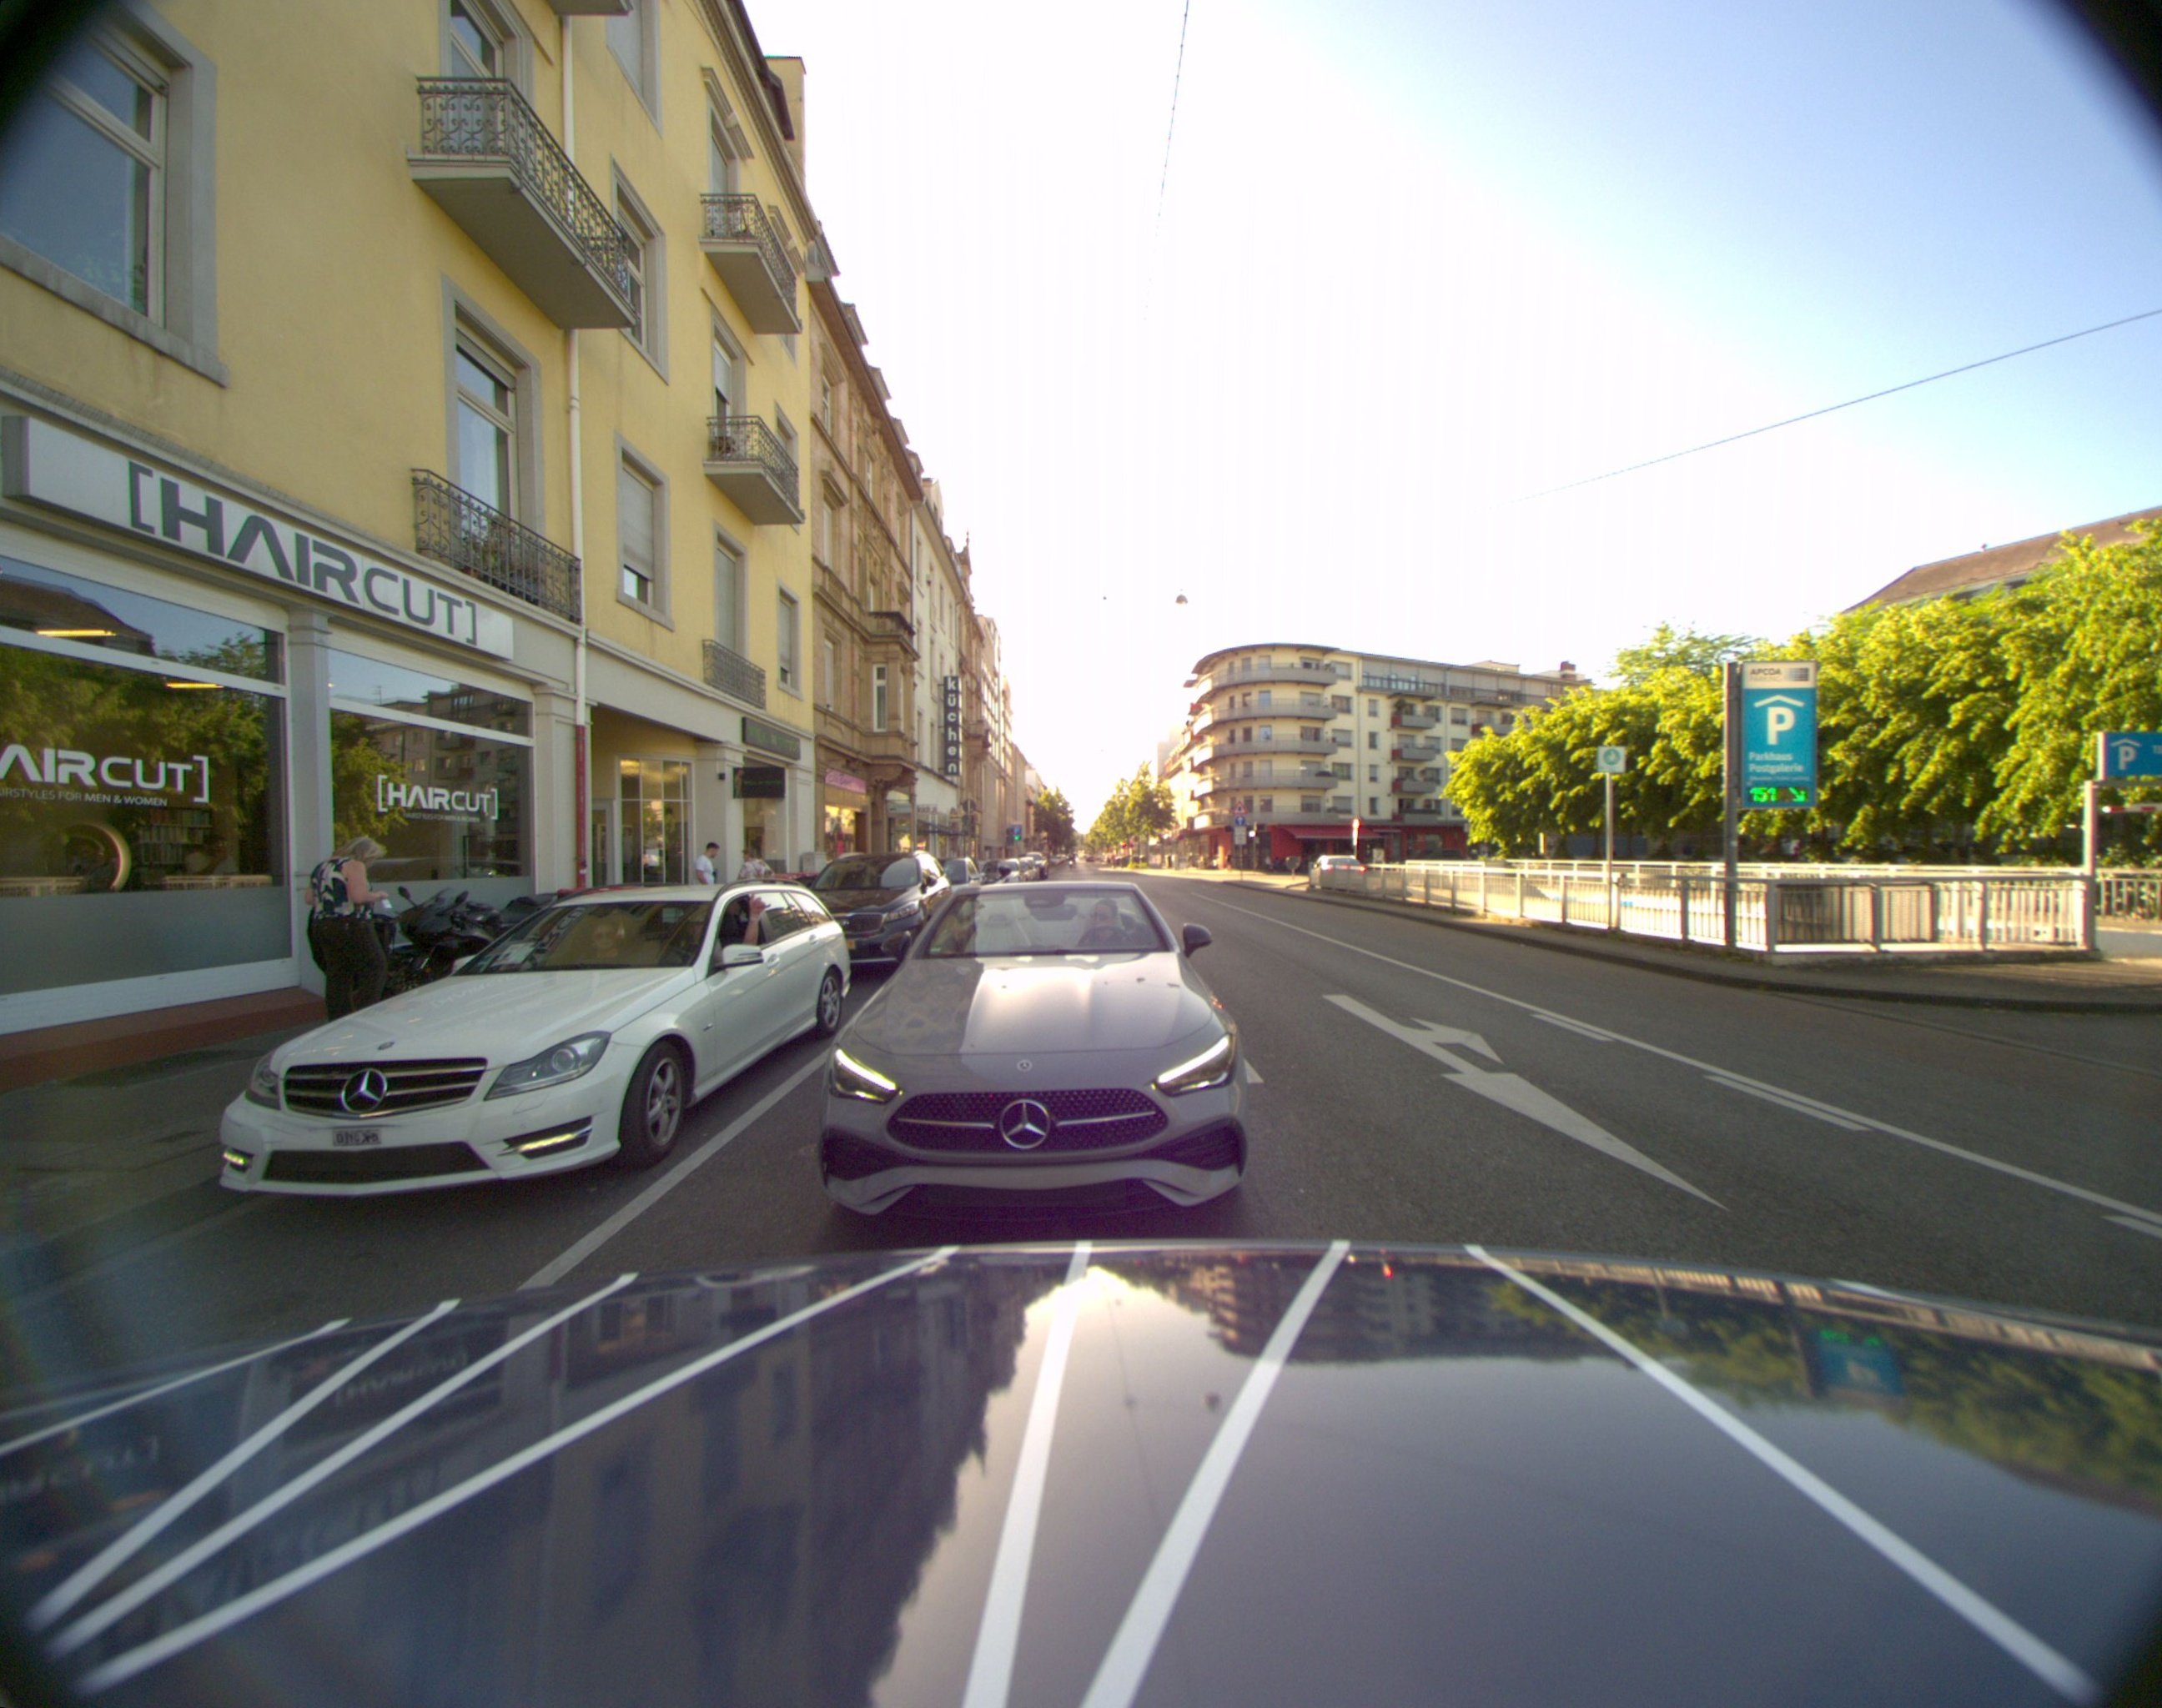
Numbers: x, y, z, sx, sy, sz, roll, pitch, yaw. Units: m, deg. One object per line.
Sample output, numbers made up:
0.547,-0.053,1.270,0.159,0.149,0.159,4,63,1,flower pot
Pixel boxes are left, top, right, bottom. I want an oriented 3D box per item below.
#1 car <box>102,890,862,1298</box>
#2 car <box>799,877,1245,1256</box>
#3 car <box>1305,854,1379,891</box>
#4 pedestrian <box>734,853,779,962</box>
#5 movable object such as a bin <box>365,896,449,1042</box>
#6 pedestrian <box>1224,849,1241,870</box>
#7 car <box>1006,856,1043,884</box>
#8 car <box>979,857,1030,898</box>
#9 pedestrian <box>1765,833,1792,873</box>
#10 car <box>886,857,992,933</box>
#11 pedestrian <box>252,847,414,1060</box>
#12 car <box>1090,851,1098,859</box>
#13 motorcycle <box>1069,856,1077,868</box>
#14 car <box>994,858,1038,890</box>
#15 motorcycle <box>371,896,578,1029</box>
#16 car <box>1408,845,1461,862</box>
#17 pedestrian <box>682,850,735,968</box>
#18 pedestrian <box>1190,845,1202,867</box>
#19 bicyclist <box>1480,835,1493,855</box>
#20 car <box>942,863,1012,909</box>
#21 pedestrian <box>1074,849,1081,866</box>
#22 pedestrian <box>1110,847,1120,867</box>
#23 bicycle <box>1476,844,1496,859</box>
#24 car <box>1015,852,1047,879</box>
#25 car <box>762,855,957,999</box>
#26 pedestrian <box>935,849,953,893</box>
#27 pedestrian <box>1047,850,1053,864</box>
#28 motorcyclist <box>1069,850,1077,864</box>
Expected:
-3.053,1.081,5.270,1.704,1.351,4.378,-2,1,1,car
-0.217,0.952,5.164,1.802,1.351,3.999,-2,1,1,car
10.880,0.711,31.947,1.823,1.346,4.265,1,1,3,car
-5.691,0.908,13.314,0.576,1.840,0.663,-3,1,-30,pedestrian
-5.957,0.998,6.725,0.391,1.231,0.394,1,1,1,movable object such as a bin
11.960,0.453,59.953,0.863,1.586,0.887,-3,1,-38,pedestrian
-3.006,0.853,41.093,1.725,1.332,3.668,-2,1,-1,car
-3.014,0.888,30.727,1.660,1.423,4.085,-2,1,-1,car
30.755,-0.032,33.504,0.647,1.711,0.607,-3,1,-19,pedestrian
-3.316,0.909,18.553,1.802,1.518,4.085,-2,1,-1,car
-6.091,0.775,6.221,0.719,1.644,0.606,1,1,1,pedestrian
2.643,0.264,157.674,1.615,1.534,3.931,-1,0,1,car
-0.845,0.802,79.664,0.720,1.177,1.906,-2,1,1,motorcycle
-3.112,0.919,36.884,1.802,1.332,3.838,-2,1,-1,car
-6.197,1.048,7.929,0.567,1.072,1.954,2,1,1,motorcycle
29.052,-0.060,62.428,4.004,1.294,1.753,-2,1,-23,car
-6.367,0.916,13.013,0.373,1.971,0.695,0,1,23,pedestrian
10.300,0.177,67.997,0.860,2.002,0.889,-2,1,0,pedestrian
32.888,-0.725,61.602,0.799,1.539,0.524,-3,1,-25,bicyclist
-3.402,1.006,25.514,1.802,1.259,4.085,-2,1,-1,car
-0.384,0.424,95.429,0.792,2.002,0.889,-2,1,1,pedestrian
3.512,0.317,78.382,0.860,2.002,0.889,-2,1,1,pedestrian
32.856,-0.205,61.593,1.595,1.163,0.526,-3,1,-25,bicycle
-3.068,0.698,47.509,1.725,1.506,4.004,-2,1,-1,car
-3.025,0.891,11.353,1.803,1.629,4.243,-2,1,-3,car
-5.803,0.703,32.174,0.574,1.840,0.665,-2,1,1,pedestrian
-4.401,0.426,107.041,0.792,1.920,0.952,-1,1,-1,pedestrian
-0.862,0.350,79.683,0.722,1.438,0.705,-2,1,1,motorcyclist
